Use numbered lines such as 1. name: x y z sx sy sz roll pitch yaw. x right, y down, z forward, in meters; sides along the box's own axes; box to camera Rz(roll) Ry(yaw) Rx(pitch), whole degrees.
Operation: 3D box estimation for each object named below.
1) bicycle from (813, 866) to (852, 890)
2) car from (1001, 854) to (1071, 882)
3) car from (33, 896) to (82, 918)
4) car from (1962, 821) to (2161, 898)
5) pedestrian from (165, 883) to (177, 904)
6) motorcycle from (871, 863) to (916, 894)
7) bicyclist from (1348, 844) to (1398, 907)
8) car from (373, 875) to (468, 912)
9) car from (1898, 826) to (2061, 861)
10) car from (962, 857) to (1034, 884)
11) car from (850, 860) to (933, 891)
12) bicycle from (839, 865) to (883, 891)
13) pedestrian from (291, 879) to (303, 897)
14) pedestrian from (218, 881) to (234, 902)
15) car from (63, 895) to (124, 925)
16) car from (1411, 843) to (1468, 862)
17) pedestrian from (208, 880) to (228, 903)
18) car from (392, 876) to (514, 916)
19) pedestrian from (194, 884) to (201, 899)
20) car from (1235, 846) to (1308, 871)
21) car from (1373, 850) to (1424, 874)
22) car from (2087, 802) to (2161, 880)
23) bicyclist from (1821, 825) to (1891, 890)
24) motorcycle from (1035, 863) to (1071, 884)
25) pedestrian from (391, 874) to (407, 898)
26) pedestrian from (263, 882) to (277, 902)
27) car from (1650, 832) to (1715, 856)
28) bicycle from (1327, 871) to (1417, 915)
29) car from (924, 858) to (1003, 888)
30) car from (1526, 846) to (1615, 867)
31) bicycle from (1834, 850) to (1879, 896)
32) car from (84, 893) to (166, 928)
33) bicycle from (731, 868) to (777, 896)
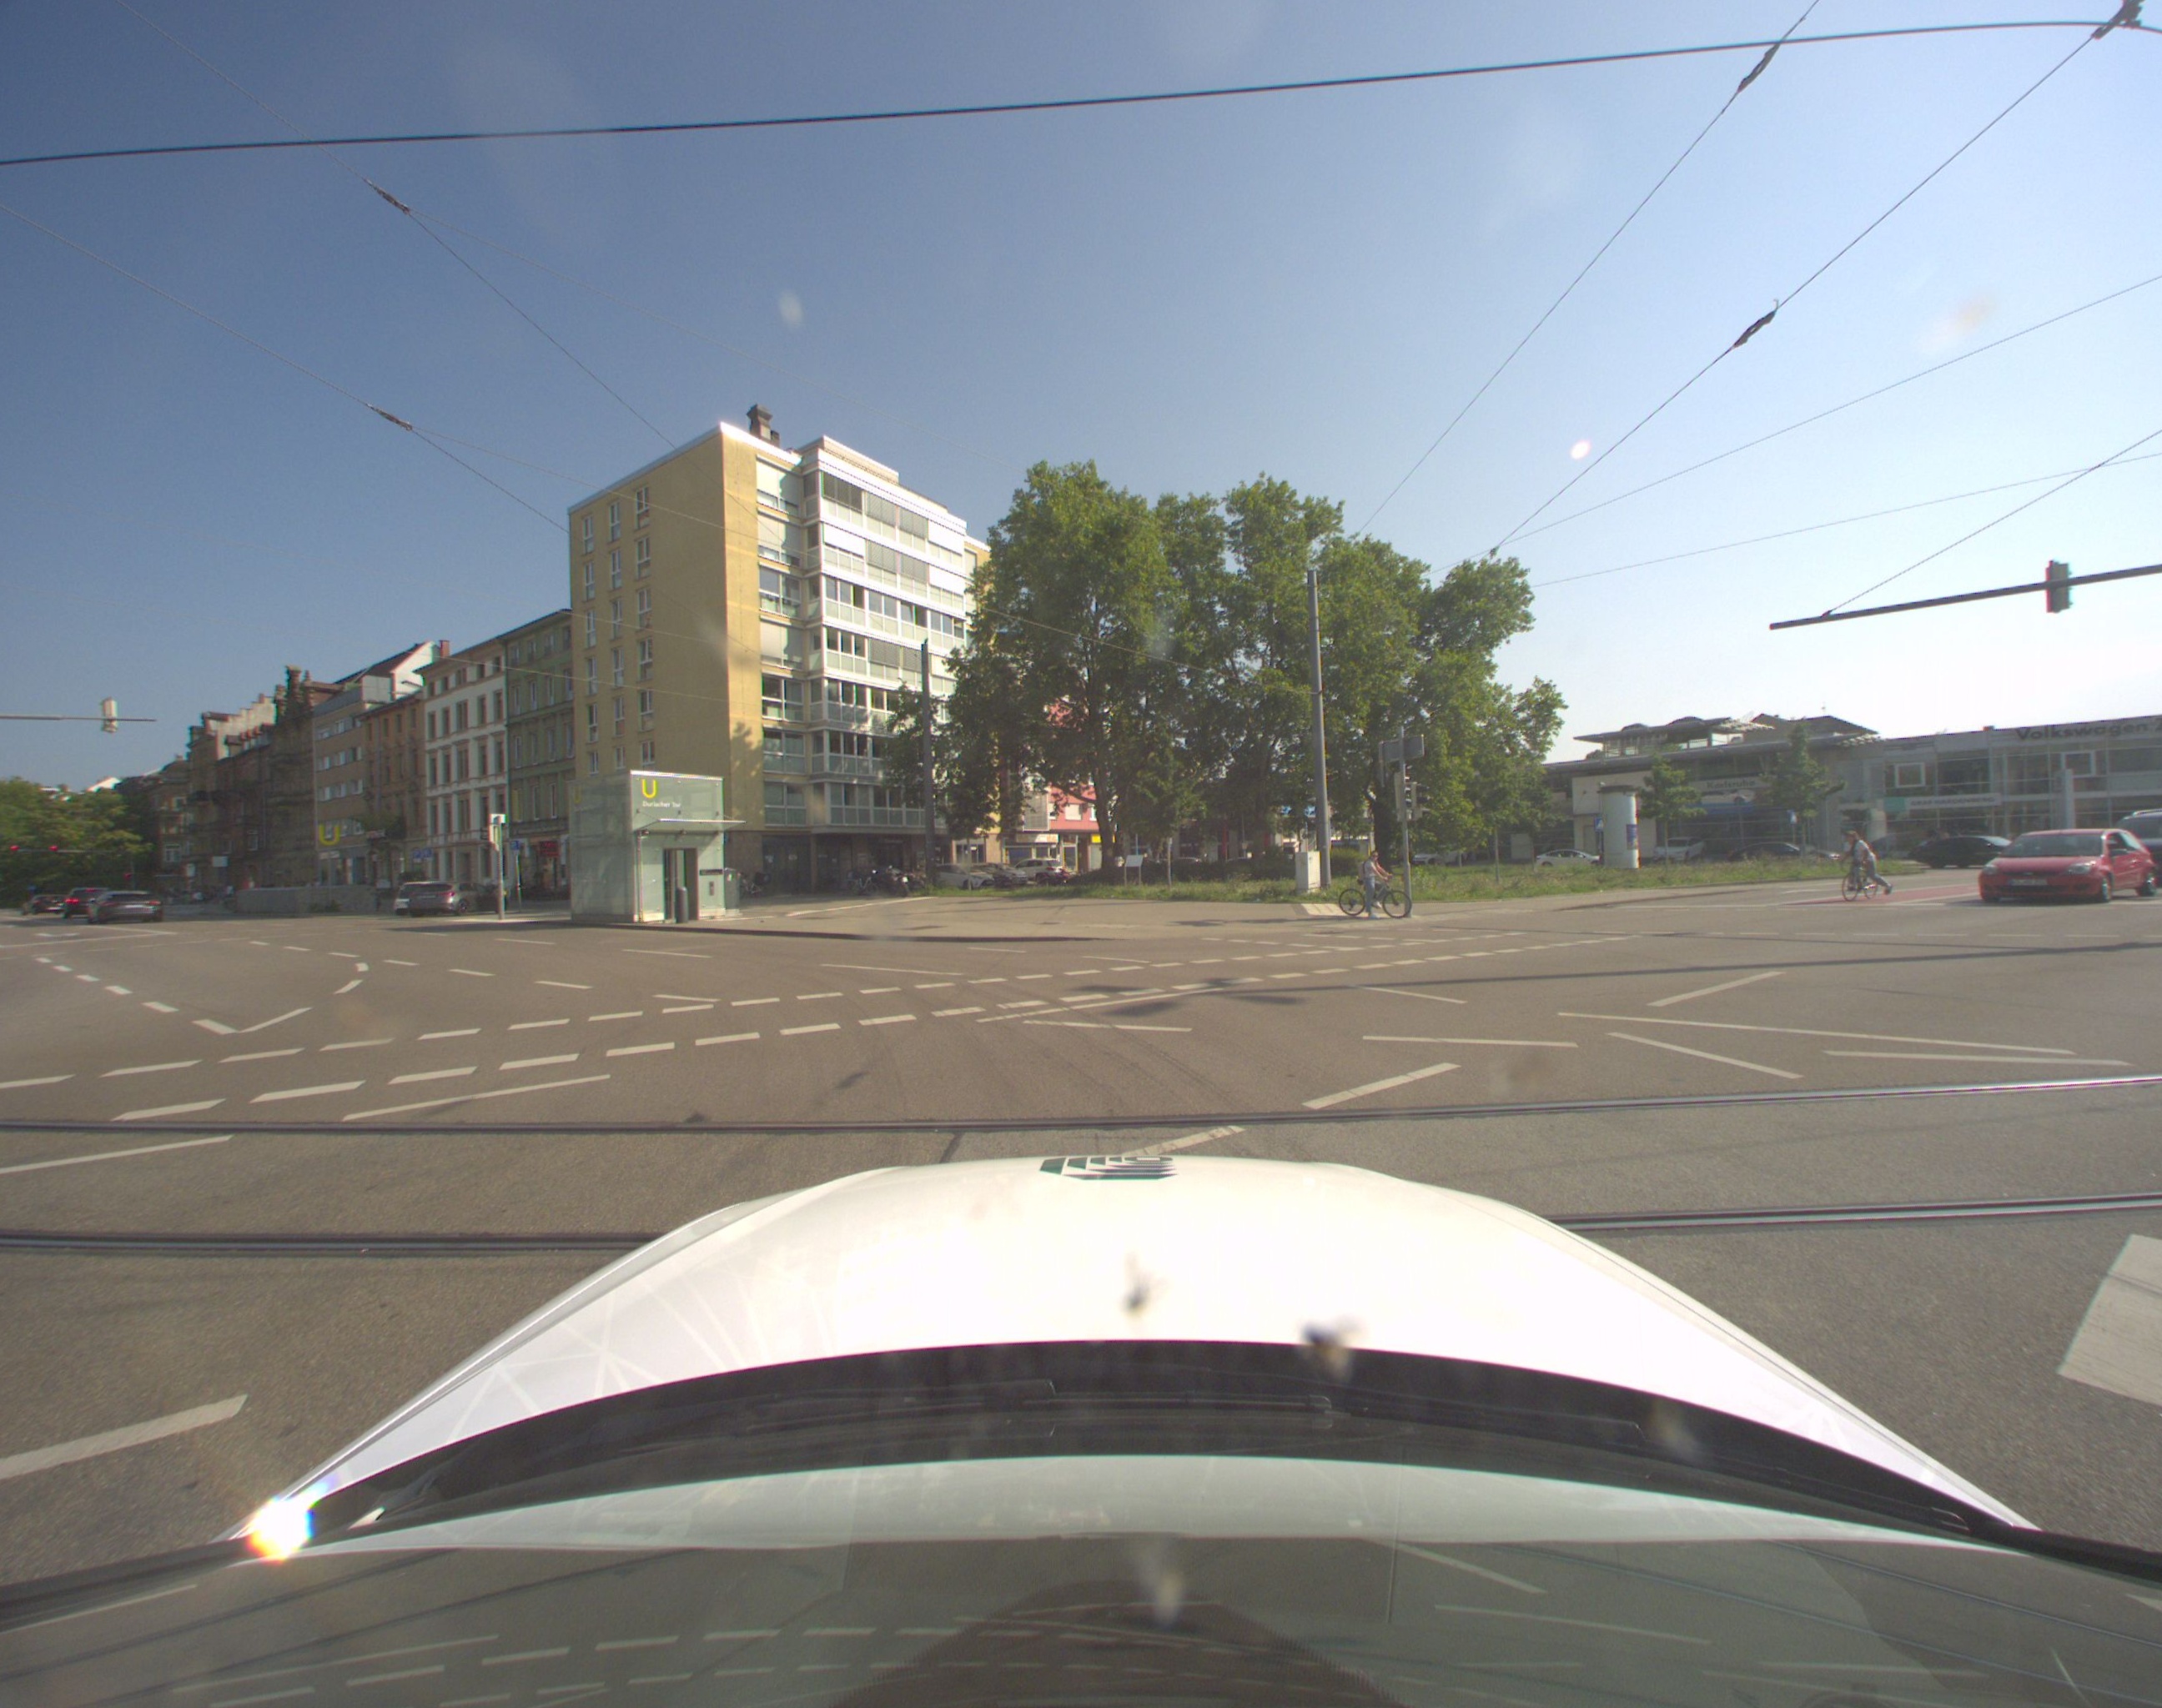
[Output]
1. bicycle: -13.306 1.256 43.654 0.662 1.183 2.036 -2 0 34
2. car: -2.842 0.897 51.397 3.948 1.644 2.013 -2 0 35
3. car: -74.699 3.842 59.423 4.300 1.425 1.882 -2 -2 34
4. car: 20.651 0.085 17.094 4.007 1.415 1.788 -2 0 -25
5. pedestrian: -78.632 3.409 70.375 0.736 1.729 0.570 -2 -1 31
6. motorcycle: -7.398 0.951 32.049 0.709 1.147 2.274 -2 0 -40
7. bicyclist: 6.917 0.494 19.294 0.734 1.427 0.811 -1 0 -37
8. car: -29.334 1.724 36.304 1.616 1.464 3.519 -2 -1 -7
9. car: 39.081 -0.425 35.606 1.996 1.370 4.378 -2 0 -13
10. car: -5.085 1.025 49.882 3.948 1.507 2.013 -2 0 35
11. car: -9.436 1.082 40.452 4.140 1.441 1.673 -2 0 35
12. bicycle: -10.638 1.170 39.361 2.272 1.235 0.527 -2 0 29
13. pedestrian: -72.708 3.152 75.531 0.579 1.692 0.609 -2 -1 31
14. pedestrian: -72.211 3.183 68.767 0.790 1.729 0.757 -2 0 31
15. car: -57.742 3.264 47.611 4.300 1.621 1.849 -2 -2 34
16. car: 30.348 -0.100 68.926 4.052 1.462 1.991 -1 0 -13
17. pedestrian: -70.527 3.069 66.569 0.790 1.831 0.934 -2 0 31
18. car: -25.803 1.685 33.694 1.839 1.423 4.402 -2 -1 -4
19. pedestrian: -75.401 3.193 69.483 0.442 1.274 0.277 -2 -1 27
20. car: 11.806 0.283 50.479 3.948 1.376 2.013 -2 0 33
21. car: 28.610 0.732 73.527 1.952 2.013 3.961 -1 0 -30
22. car: 27.609 -0.377 20.491 4.781 1.827 1.788 -2 0 -25
23. bicyclist: 18.304 0.085 19.237 0.977 1.475 1.074 -2 0 -41
24. motorcycle: -1.391 0.944 39.821 0.709 1.001 1.933 -2 0 -40
25. pedestrian: -46.331 2.183 55.313 0.727 1.629 0.614 -2 -1 34
26. pedestrian: -74.758 3.487 75.092 0.845 1.787 0.727 -2 -1 35
27. car: 40.370 -0.668 54.664 4.338 1.462 1.980 -1 0 -31
28. bicycle: 6.880 0.905 19.341 0.570 0.893 2.053 -1 2 -37
29. car: -6.499 1.031 44.892 3.948 1.507 2.013 -2 0 35
30. car: 30.521 0.156 50.844 2.010 1.165 4.347 -2 0 -39
31. bicycle: 18.305 0.431 19.200 2.209 0.989 0.523 -2 -1 -41
32. car: -42.523 2.458 36.188 4.300 1.425 1.882 -2 -2 34
33. bicycle: -15.779 1.343 39.336 0.662 1.206 2.036 -2 0 34
